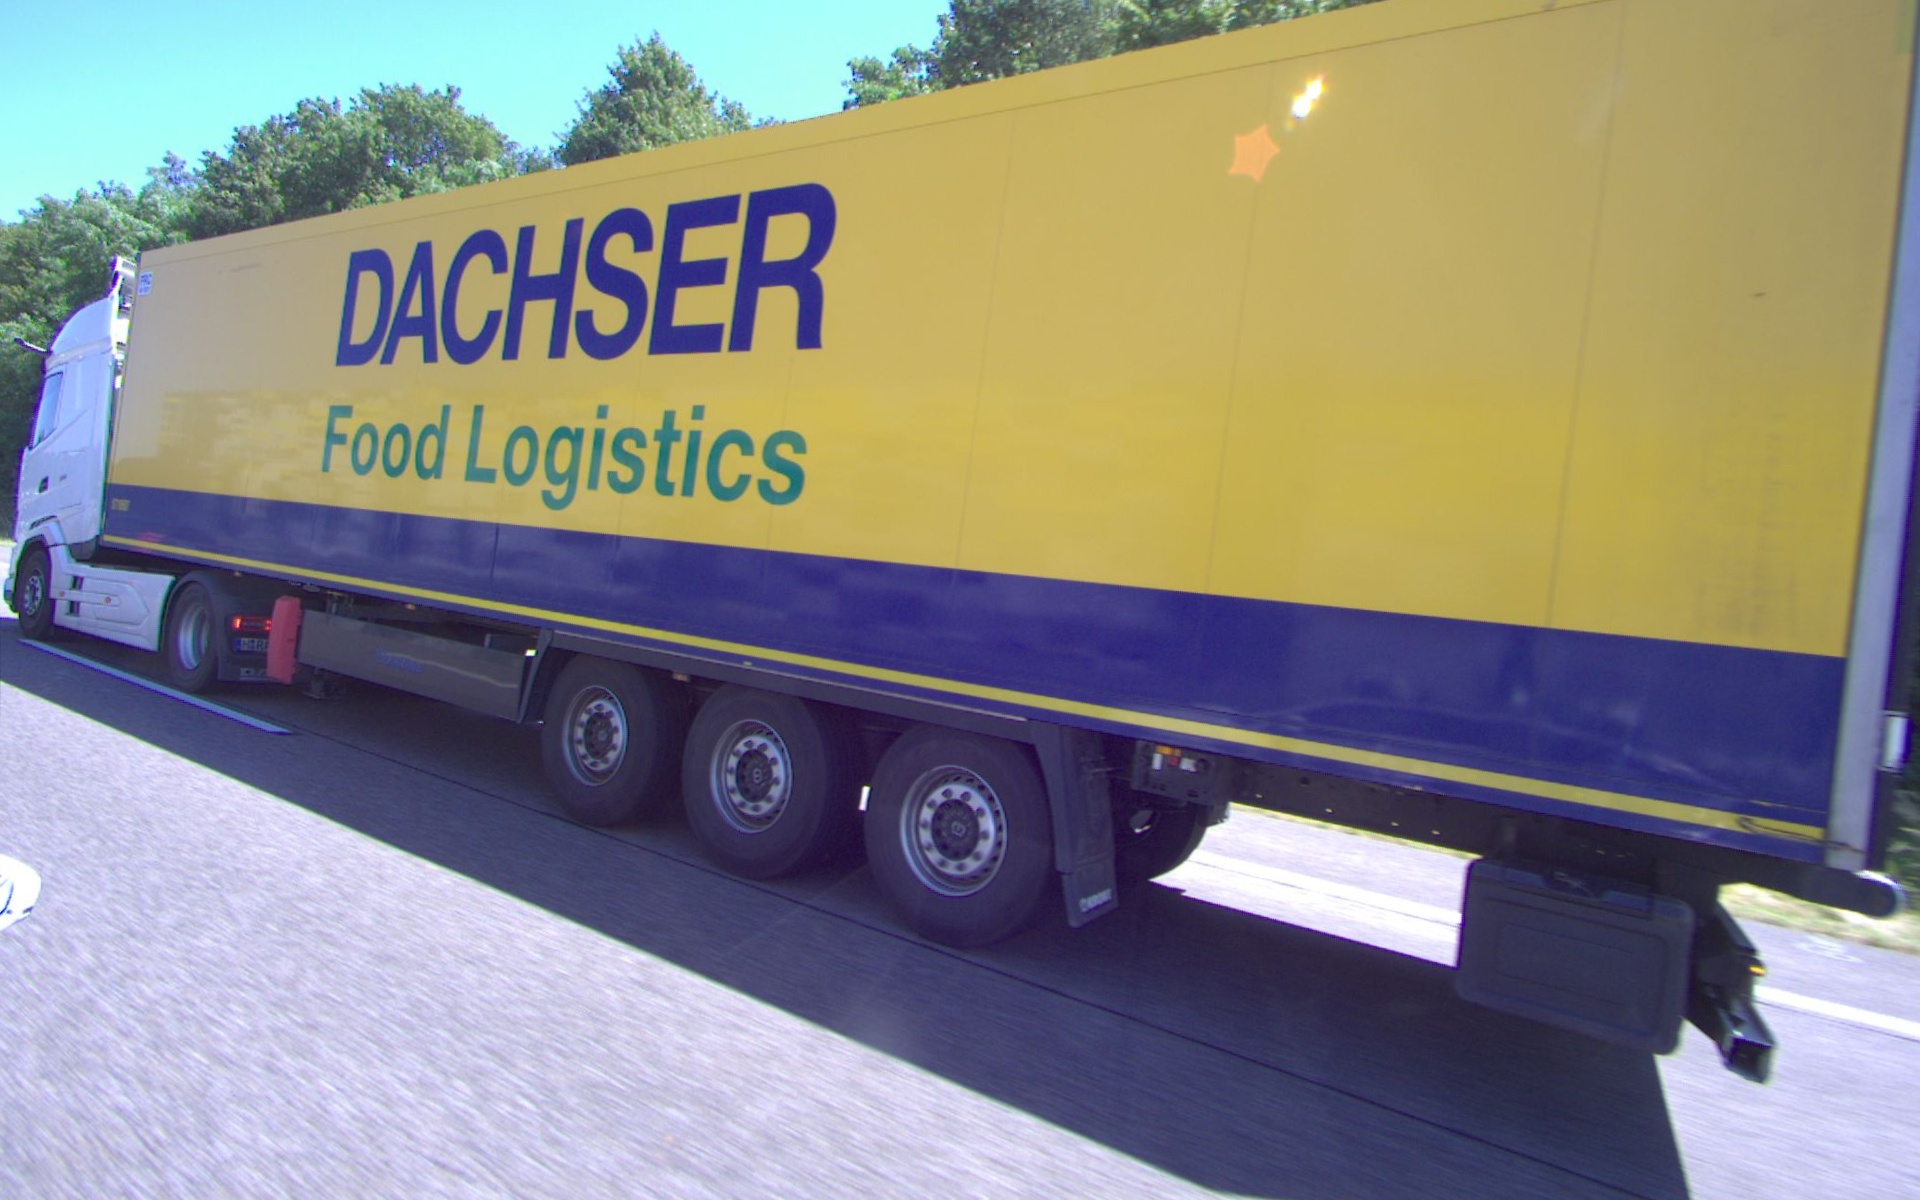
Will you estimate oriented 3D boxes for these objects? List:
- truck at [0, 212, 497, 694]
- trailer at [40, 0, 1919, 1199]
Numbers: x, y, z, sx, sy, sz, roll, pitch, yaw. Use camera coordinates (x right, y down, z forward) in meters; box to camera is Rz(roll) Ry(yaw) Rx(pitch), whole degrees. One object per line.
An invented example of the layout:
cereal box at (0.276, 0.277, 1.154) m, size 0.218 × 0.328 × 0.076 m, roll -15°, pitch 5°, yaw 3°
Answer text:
truck at (-8.474, -1.443, 11.329) m, size 5.948 × 4.117 × 2.682 m, roll 7°, pitch -1°, yaw 32°
trailer at (-2.480, -0.791, 7.599) m, size 13.606 × 4.117 × 2.682 m, roll 7°, pitch -1°, yaw 32°
